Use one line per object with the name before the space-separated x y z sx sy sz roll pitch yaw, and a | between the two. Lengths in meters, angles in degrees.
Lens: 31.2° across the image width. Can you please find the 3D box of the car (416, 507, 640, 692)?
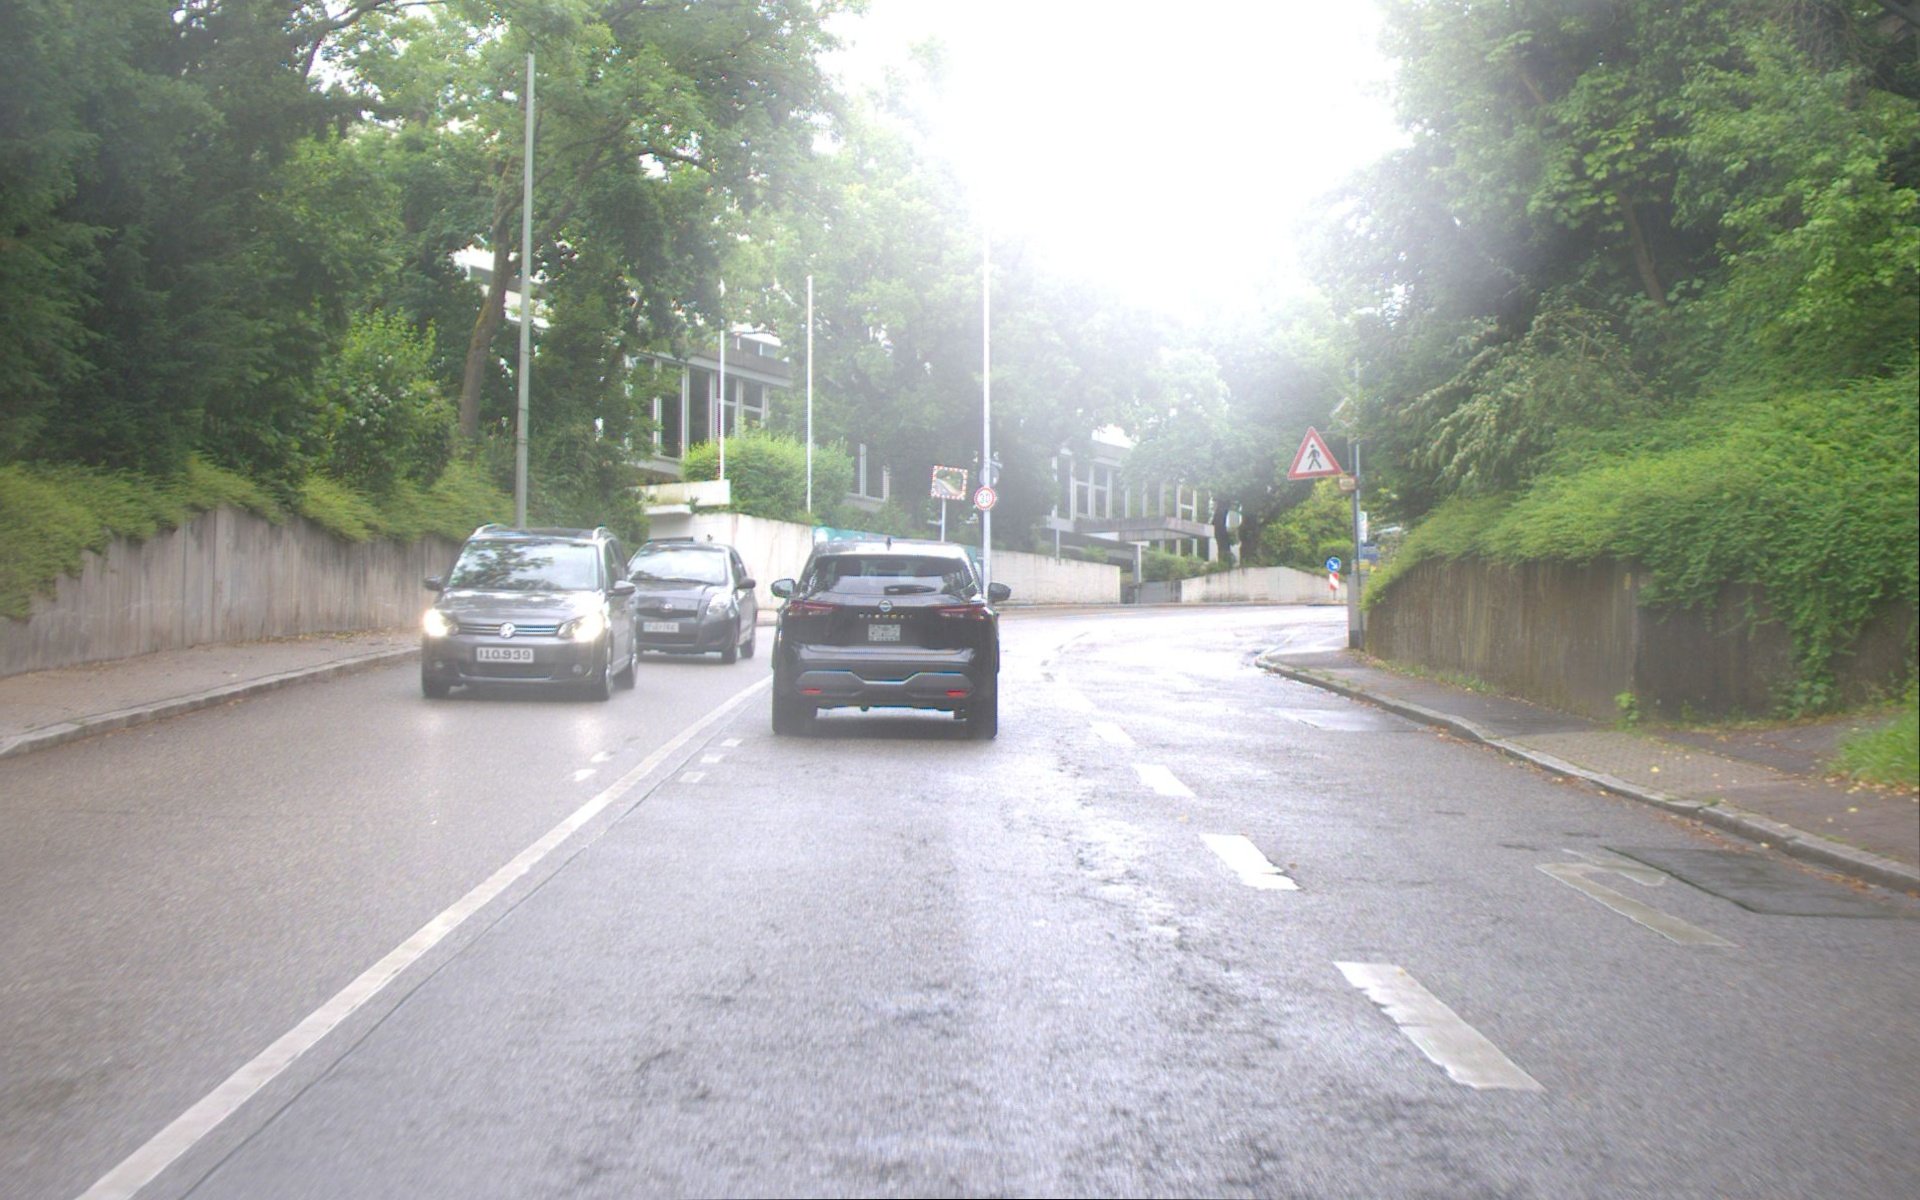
car | -4.186 -0.041 33.841 1.830 1.705 4.001 0 1 -2

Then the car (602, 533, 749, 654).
car | -3.618 -0.116 44.153 1.675 1.491 3.460 0 1 -1

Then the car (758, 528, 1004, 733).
car | -0.645 0.199 28.938 1.928 1.607 4.000 0 1 -1
